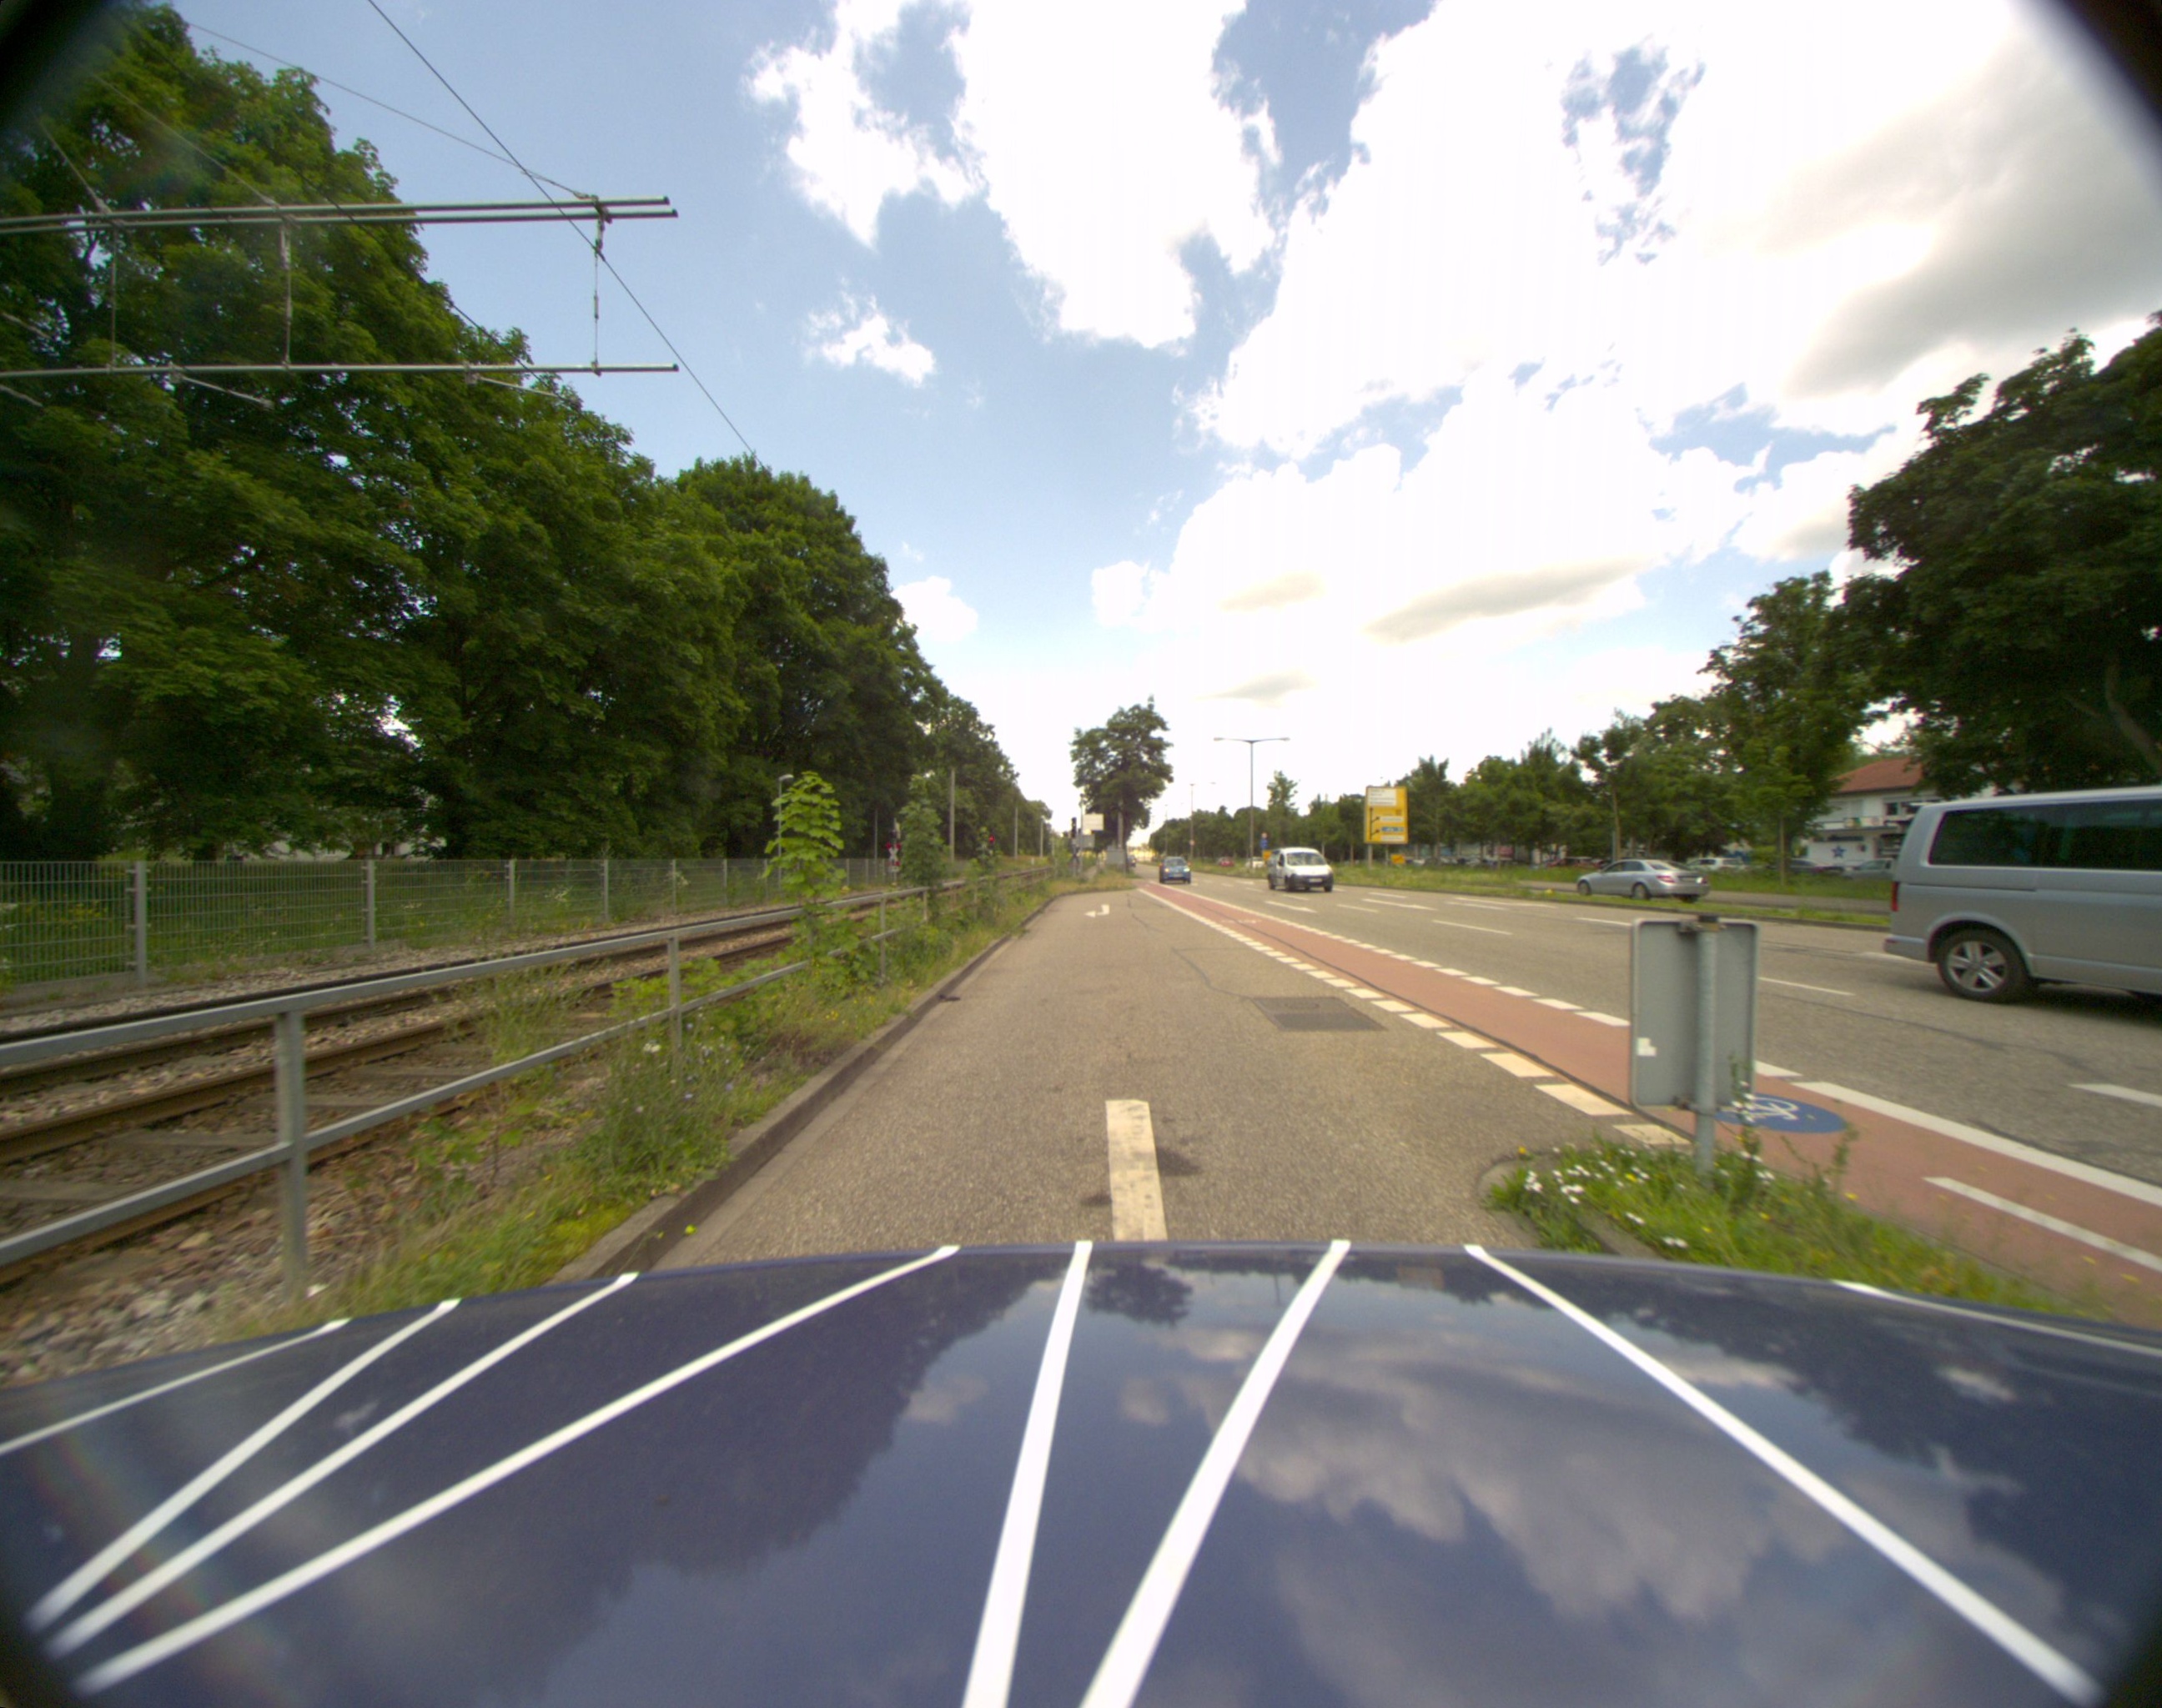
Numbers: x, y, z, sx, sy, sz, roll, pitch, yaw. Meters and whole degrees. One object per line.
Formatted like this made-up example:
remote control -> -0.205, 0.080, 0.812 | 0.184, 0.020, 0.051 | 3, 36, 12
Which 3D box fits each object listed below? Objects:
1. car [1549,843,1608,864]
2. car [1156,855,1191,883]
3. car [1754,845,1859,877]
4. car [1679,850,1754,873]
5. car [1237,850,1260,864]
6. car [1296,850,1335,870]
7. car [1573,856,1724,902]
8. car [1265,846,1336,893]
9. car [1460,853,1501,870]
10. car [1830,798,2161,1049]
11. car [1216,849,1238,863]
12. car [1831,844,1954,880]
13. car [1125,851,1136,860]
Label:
car -> 38.080, -0.057, 58.266 | 1.998, 1.578, 4.024 | 0, 0, 3
car -> 5.129, 0.806, 42.491 | 1.604, 1.455, 3.704 | 1, 0, 3
car -> 37.784, 0.360, 39.733 | 1.762, 1.578, 4.024 | 0, 0, 3
car -> 37.702, 0.419, 45.199 | 1.625, 1.324, 3.477 | 0, 0, 3
car -> 18.003, 0.345, 81.599 | 1.615, 1.436, 3.593 | -1, 0, -1
car -> 19.177, 0.476, 62.240 | 1.892, 1.503, 3.999 | -1, 0, 0
car -> 19.200, 0.775, 25.999 | 1.804, 1.423, 4.496 | 0, 0, 0
car -> 8.942, 0.580, 31.288 | 1.747, 1.775, 4.156 | -1, 0, 1
car -> 39.418, 0.700, 75.083 | 1.998, 1.578, 4.024 | 0, 0, 3
car -> 9.135, 0.535, 5.755 | 1.818, 1.907, 5.232 | 0, 0, 1
car -> 18.363, 0.247, 95.663 | 1.998, 1.608, 4.000 | 0, 0, 1
car -> 37.704, 0.353, 35.450 | 1.921, 1.578, 3.667 | 0, 0, 3
car -> 8.637, 0.277, 132.975 | 1.726, 1.604, 4.001 | 0, 0, 3
